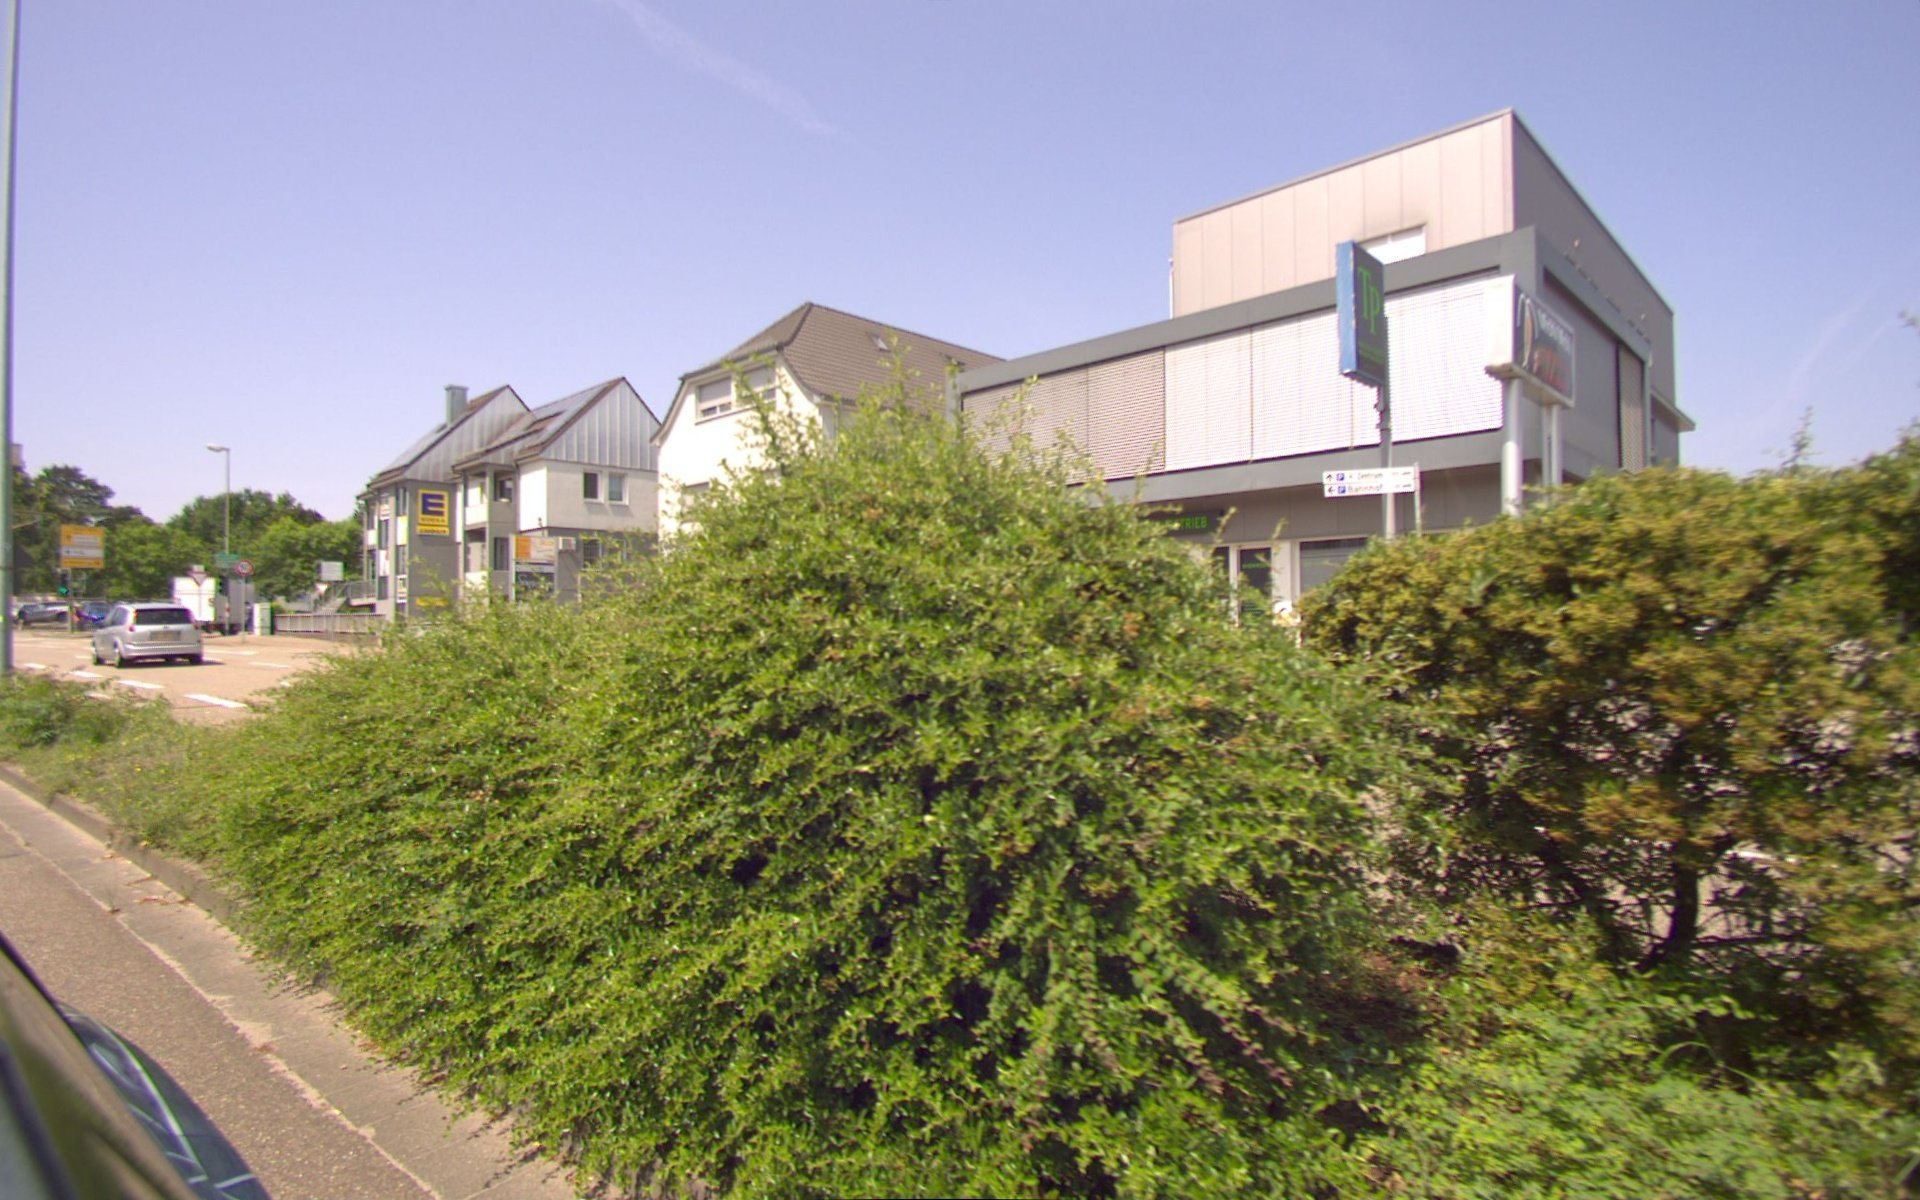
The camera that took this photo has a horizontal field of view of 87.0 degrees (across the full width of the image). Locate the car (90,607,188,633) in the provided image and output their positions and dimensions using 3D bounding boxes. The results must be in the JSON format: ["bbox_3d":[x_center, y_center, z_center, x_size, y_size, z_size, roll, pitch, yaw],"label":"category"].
[{"bbox_3d":[-53.628,1.262,66.194,1.755,1.622,4.715,0,0,29],"label":"car"}]

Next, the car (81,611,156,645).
[{"bbox_3d":[-41.128,1.352,49.440,4.190,1.578,1.880,0,-1,37],"label":"car"}]

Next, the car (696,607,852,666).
[{"bbox_3d":[-5.190,1.021,28.667,1.998,1.533,4.015,-1,-2,40],"label":"car"}]

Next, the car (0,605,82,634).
[{"bbox_3d":[-66.936,1.422,73.615,4.235,1.916,1.835,2,-1,-29],"label":"car"}]

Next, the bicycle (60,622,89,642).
[{"bbox_3d":[-47.718,1.703,54.545,1.776,1.062,0.419,-1,-1,21],"label":"bicycle"}]

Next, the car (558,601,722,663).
[{"bbox_3d":[-9.955,0.947,31.779,1.854,1.639,4.557,-1,1,42],"label":"car"}]

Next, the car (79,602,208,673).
[{"bbox_3d":[-21.312,0.922,26.349,4.335,1.641,1.763,1,-1,40],"label":"car"}]

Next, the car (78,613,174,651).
[{"bbox_3d":[-32.877,1.232,39.865,4.346,1.364,1.789,-1,2,35],"label":"car"}]

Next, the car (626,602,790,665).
[{"bbox_3d":[-7.388,0.928,30.101,1.751,1.507,4.561,-1,2,39],"label":"car"}]

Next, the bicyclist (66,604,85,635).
[{"bbox_3d":[-47.617,1.055,54.506,0.815,1.655,0.419,-2,-1,21],"label":"bicyclist"}]

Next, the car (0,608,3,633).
[{"bbox_3d":[-71.154,1.445,72.897,3.990,1.737,1.831,1,0,24],"label":"car"}]

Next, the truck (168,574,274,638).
[{"bbox_3d":[-43.158,0.232,59.392,2.234,3.443,7.057,-1,2,-12],"label":"truck"}]
